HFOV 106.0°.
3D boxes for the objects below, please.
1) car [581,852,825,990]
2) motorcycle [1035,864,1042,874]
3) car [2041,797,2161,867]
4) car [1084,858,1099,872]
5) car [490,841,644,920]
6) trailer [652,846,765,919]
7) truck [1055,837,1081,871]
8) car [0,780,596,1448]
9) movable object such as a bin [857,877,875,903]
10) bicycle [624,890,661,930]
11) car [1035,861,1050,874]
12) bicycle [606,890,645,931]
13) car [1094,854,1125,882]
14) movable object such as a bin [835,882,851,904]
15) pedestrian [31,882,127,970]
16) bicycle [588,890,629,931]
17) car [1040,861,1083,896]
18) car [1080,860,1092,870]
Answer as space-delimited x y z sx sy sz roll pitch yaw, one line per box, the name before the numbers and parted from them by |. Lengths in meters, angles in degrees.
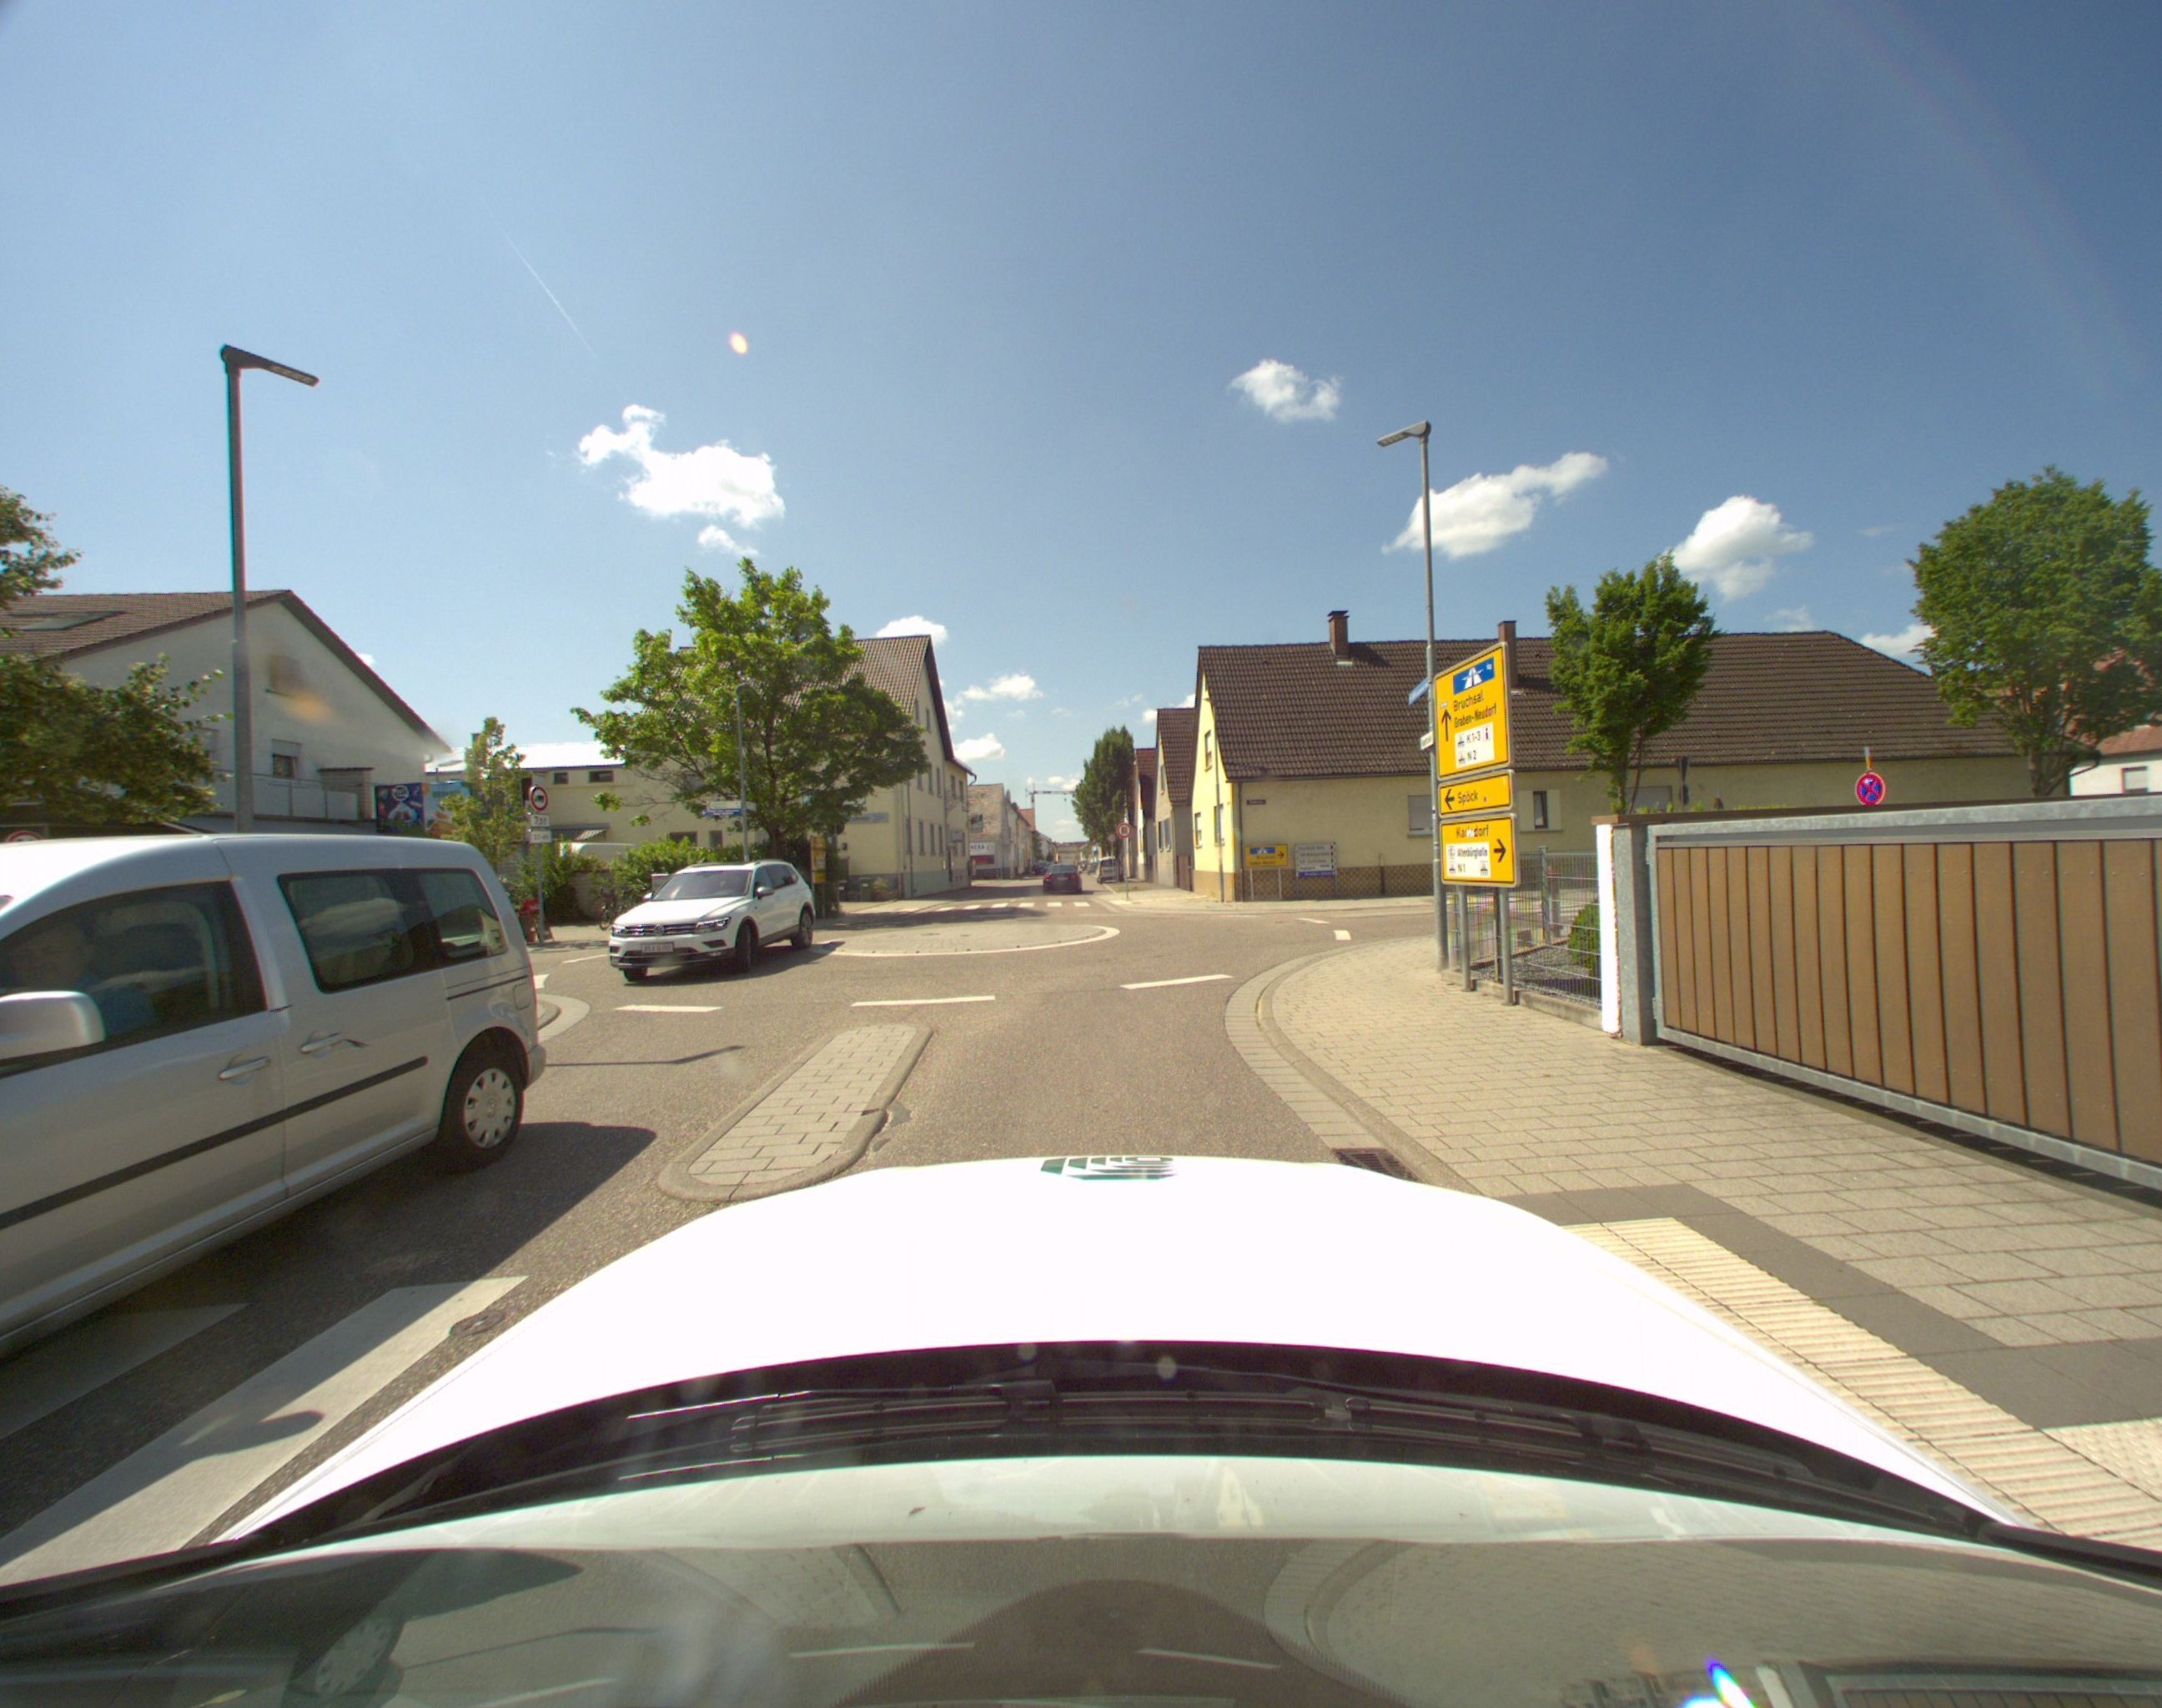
car | -5.879 0.917 13.423 1.861 1.709 4.540 -4 1 -1
motorcycle | -5.386 1.893 103.827 0.844 1.170 2.467 0 -1 -2
car | 31.875 -0.699 24.232 4.454 1.938 1.998 -2 0 -4
car | 1.238 1.231 93.407 1.713 1.461 4.157 -2 -1 1
car | -18.185 0.878 29.234 1.930 2.567 5.646 -1 0 0
trailer | -12.981 0.936 28.737 1.873 2.335 4.522 -1 0 0
truck | -1.633 0.099 105.497 3.134 4.251 9.301 0 -1 1
car | -3.938 0.766 3.061 1.769 1.821 4.434 -4 0 -5
movable object such as a bin | -9.600 1.605 36.381 0.597 1.079 0.658 -2 -1 1
bicycle | -12.764 1.605 23.761 0.400 1.003 1.974 -2 1 -12
car | -5.082 1.737 107.806 1.804 1.589 3.997 -2 -1 -1
bicycle | -13.209 1.608 23.665 0.400 1.003 1.974 -2 1 -12
car | 1.957 0.969 56.787 1.715 1.790 4.140 -4 0 -2
movable object such as a bin | -10.610 1.717 36.282 0.477 0.928 0.547 -2 -1 1
pedestrian | -22.410 1.586 18.235 0.778 1.825 1.023 -2 1 -2
bicycle | -13.644 1.609 23.540 0.400 1.003 1.974 -2 1 -12
car | -0.901 1.150 40.080 1.896 1.564 4.476 -2 0 0
car | 0.661 1.606 121.847 1.714 1.355 4.155 -2 -1 0
